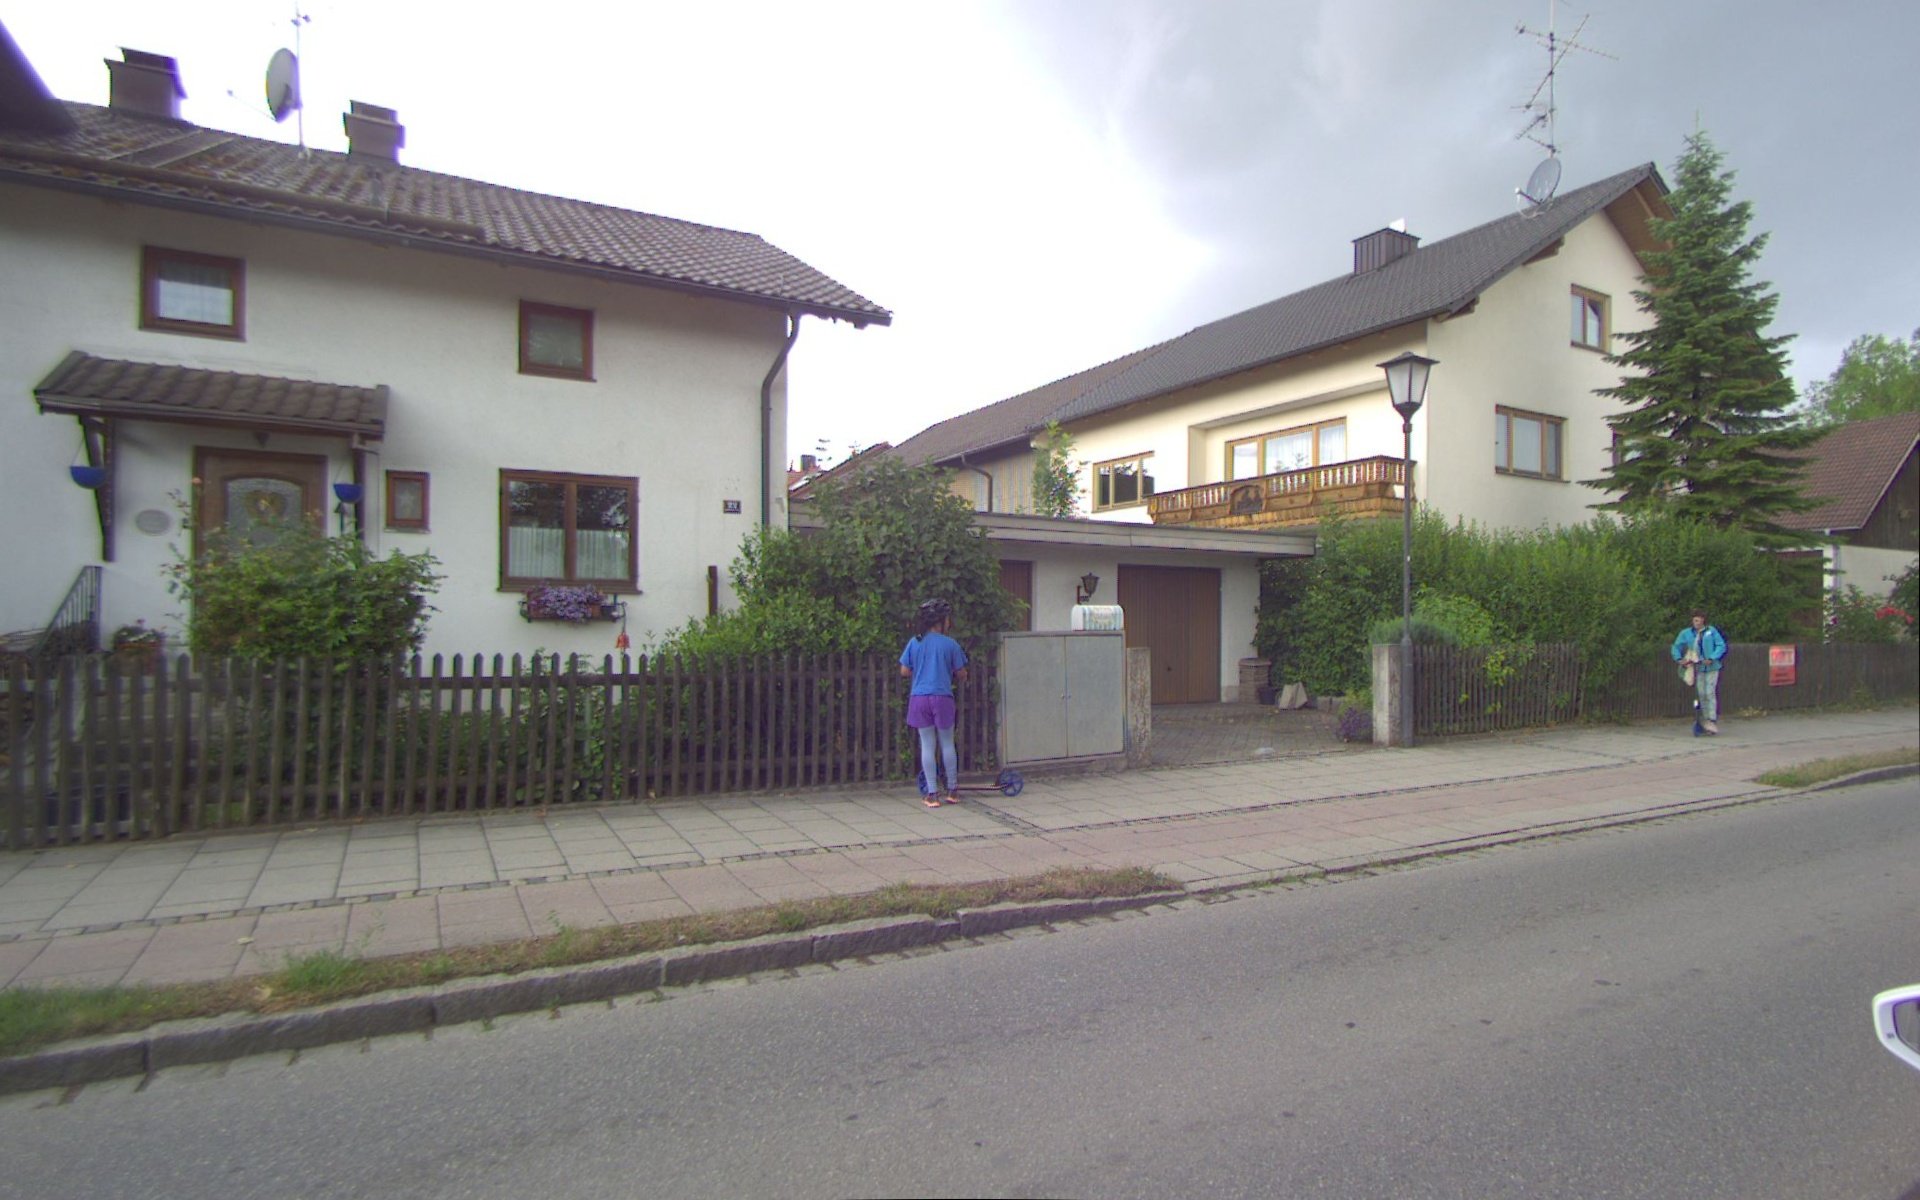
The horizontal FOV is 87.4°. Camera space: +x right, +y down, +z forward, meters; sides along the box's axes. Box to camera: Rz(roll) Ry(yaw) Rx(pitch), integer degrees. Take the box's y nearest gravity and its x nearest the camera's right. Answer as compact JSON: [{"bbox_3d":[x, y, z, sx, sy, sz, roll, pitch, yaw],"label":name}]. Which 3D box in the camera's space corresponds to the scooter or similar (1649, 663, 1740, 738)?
[{"bbox_3d":[9.094,1.227,12.433,1.049,0.861,0.519,1,0,-29],"label":"scooter or similar"}]

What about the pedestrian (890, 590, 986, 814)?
[{"bbox_3d":[-0.166,0.711,7.304,0.482,1.549,0.530,1,0,-28],"label":"pedestrian"}]

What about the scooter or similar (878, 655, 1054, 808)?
[{"bbox_3d":[0.044,0.960,7.659,1.164,1.051,0.658,1,-1,-29],"label":"scooter or similar"}]

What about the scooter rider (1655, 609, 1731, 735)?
[{"bbox_3d":[9.094,0.871,12.461,0.707,1.509,0.500,1,0,-29],"label":"scooter rider"}]
